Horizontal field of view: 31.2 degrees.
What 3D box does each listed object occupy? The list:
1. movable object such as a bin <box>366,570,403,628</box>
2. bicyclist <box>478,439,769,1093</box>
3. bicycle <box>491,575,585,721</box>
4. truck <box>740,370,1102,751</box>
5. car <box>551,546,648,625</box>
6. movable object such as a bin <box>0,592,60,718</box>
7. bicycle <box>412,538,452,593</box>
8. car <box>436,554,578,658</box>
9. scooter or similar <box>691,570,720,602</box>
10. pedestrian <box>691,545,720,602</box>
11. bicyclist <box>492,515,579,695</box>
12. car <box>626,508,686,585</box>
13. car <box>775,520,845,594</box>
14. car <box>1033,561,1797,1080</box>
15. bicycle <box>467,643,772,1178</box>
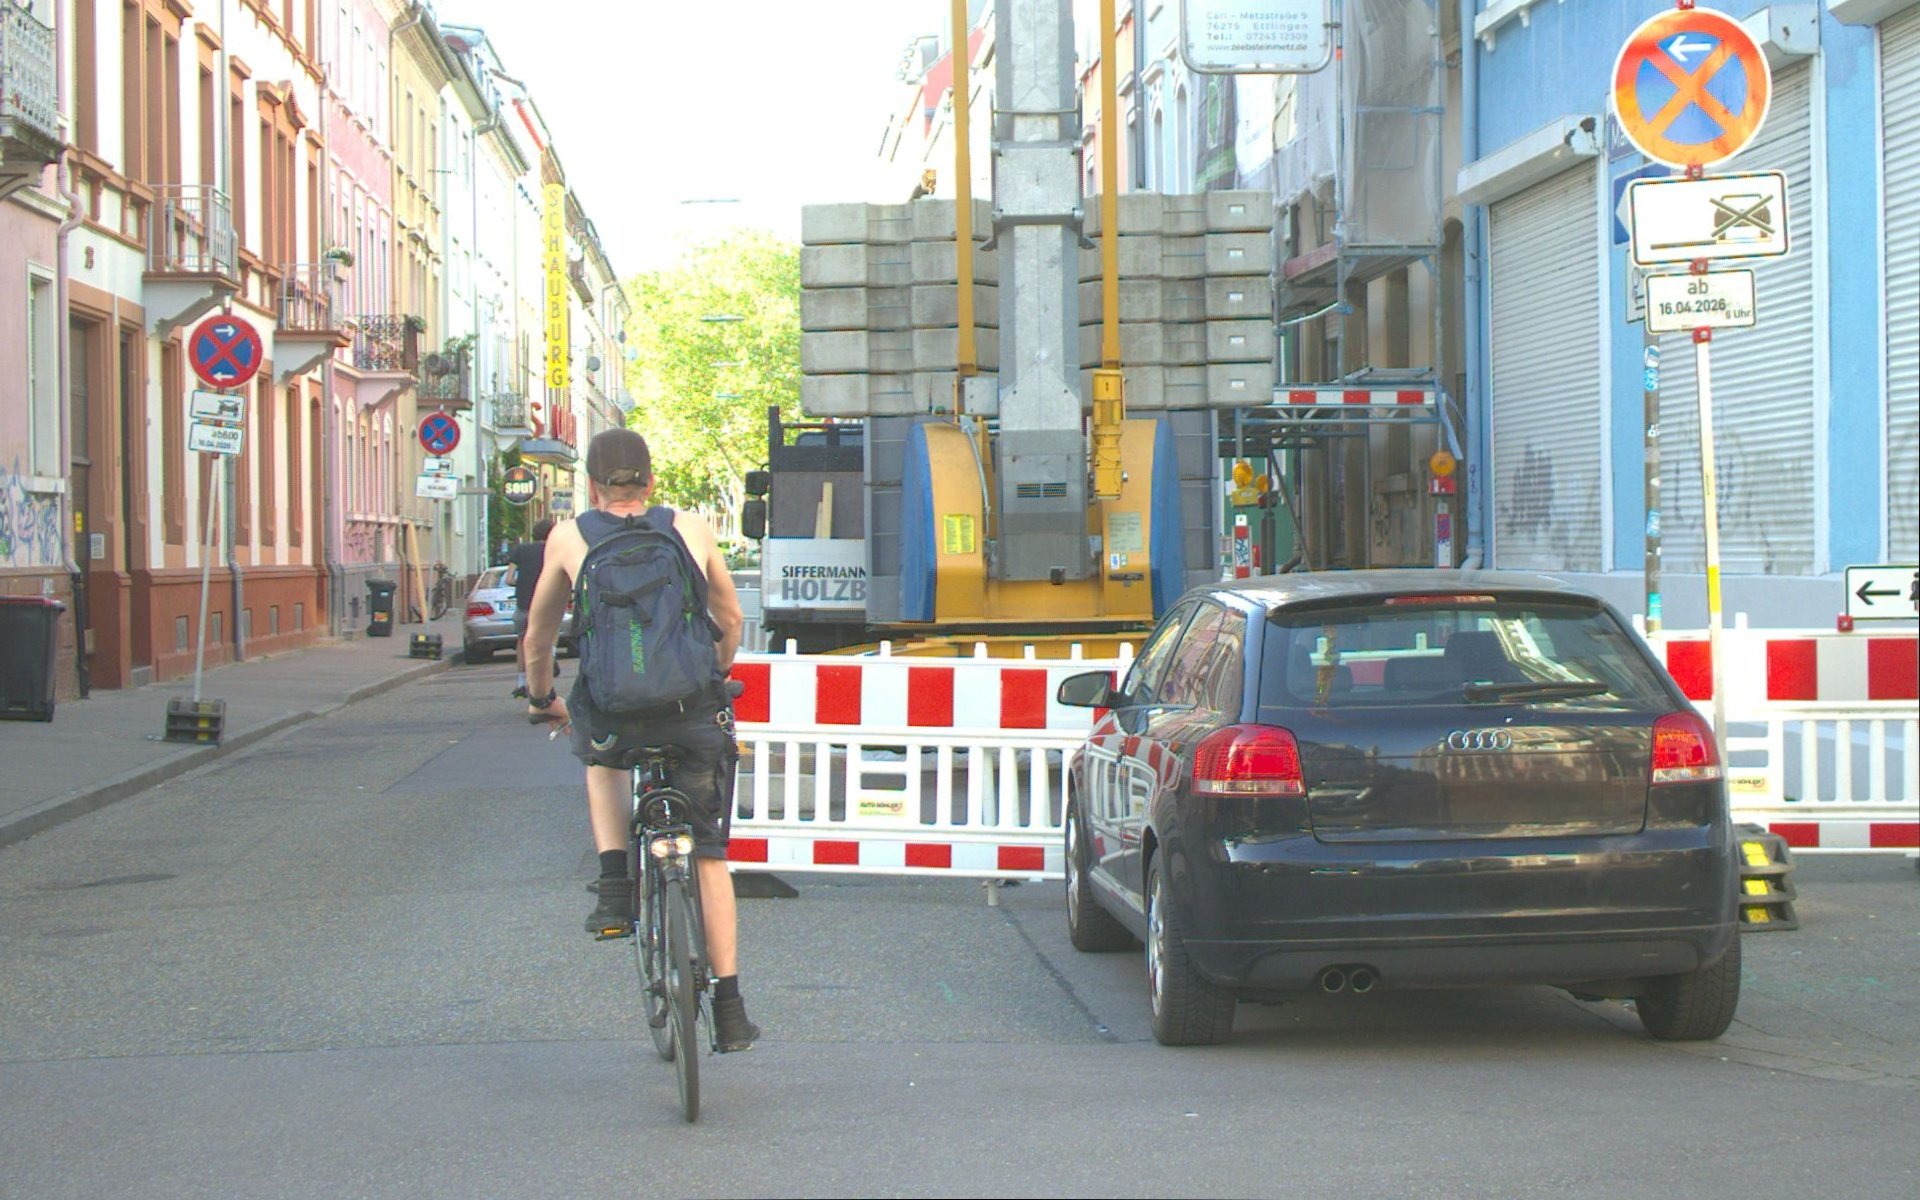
[{"bbox_3d":[-9.405,-0.019,56.179,0.543,0.941,0.487,1,0,-3],"label":"movable object such as a bin"},{"bbox_3d":[-0.876,0.409,9.162,0.702,1.627,1.090,-1,0,-3],"label":"bicyclist"},{"bbox_3d":[-3.845,0.413,31.480,0.702,1.203,2.343,-2,2,-4],"label":"bicycle"},{"bbox_3d":[-0.494,-0.324,29.225,2.661,2.804,7.394,1,0,-3],"label":"truck"},{"bbox_3d":[-7.097,-0.294,67.941,1.672,1.437,4.166,-3,1,-4],"label":"car"},{"bbox_3d":[-7.883,0.454,28.730,0.605,1.032,0.596,1,0,-5],"label":"movable object such as a bin"},{"bbox_3d":[-10.634,-0.690,69.306,0.592,1.085,2.079,1,0,-3],"label":"bicycle"},{"bbox_3d":[-6.601,0.060,50.497,1.710,1.378,4.506,-3,1,-4],"label":"car"},{"bbox_3d":[-7.030,-0.394,95.005,0.770,0.870,0.771,1,0,-5],"label":"scooter or similar"},{"bbox_3d":[-7.068,-0.736,95.422,0.770,1.573,0.900,1,0,-5],"label":"pedestrian"},{"bbox_3d":[-3.878,0.033,31.480,0.702,1.599,0.813,-2,2,-4],"label":"bicyclist"},{"bbox_3d":[-10.209,-1.802,115.211,1.909,2.488,4.166,-2,1,-6],"label":"car"},{"bbox_3d":[-5.559,-1.566,126.663,2.307,2.529,6.771,-3,1,-4],"label":"car"},{"bbox_3d":[1.321,0.592,11.626,1.771,1.429,4.034,0,1,-4],"label":"car"},{"bbox_3d":[-0.877,0.749,9.317,0.702,1.204,2.342,-1,1,-3],"label":"bicycle"}]
